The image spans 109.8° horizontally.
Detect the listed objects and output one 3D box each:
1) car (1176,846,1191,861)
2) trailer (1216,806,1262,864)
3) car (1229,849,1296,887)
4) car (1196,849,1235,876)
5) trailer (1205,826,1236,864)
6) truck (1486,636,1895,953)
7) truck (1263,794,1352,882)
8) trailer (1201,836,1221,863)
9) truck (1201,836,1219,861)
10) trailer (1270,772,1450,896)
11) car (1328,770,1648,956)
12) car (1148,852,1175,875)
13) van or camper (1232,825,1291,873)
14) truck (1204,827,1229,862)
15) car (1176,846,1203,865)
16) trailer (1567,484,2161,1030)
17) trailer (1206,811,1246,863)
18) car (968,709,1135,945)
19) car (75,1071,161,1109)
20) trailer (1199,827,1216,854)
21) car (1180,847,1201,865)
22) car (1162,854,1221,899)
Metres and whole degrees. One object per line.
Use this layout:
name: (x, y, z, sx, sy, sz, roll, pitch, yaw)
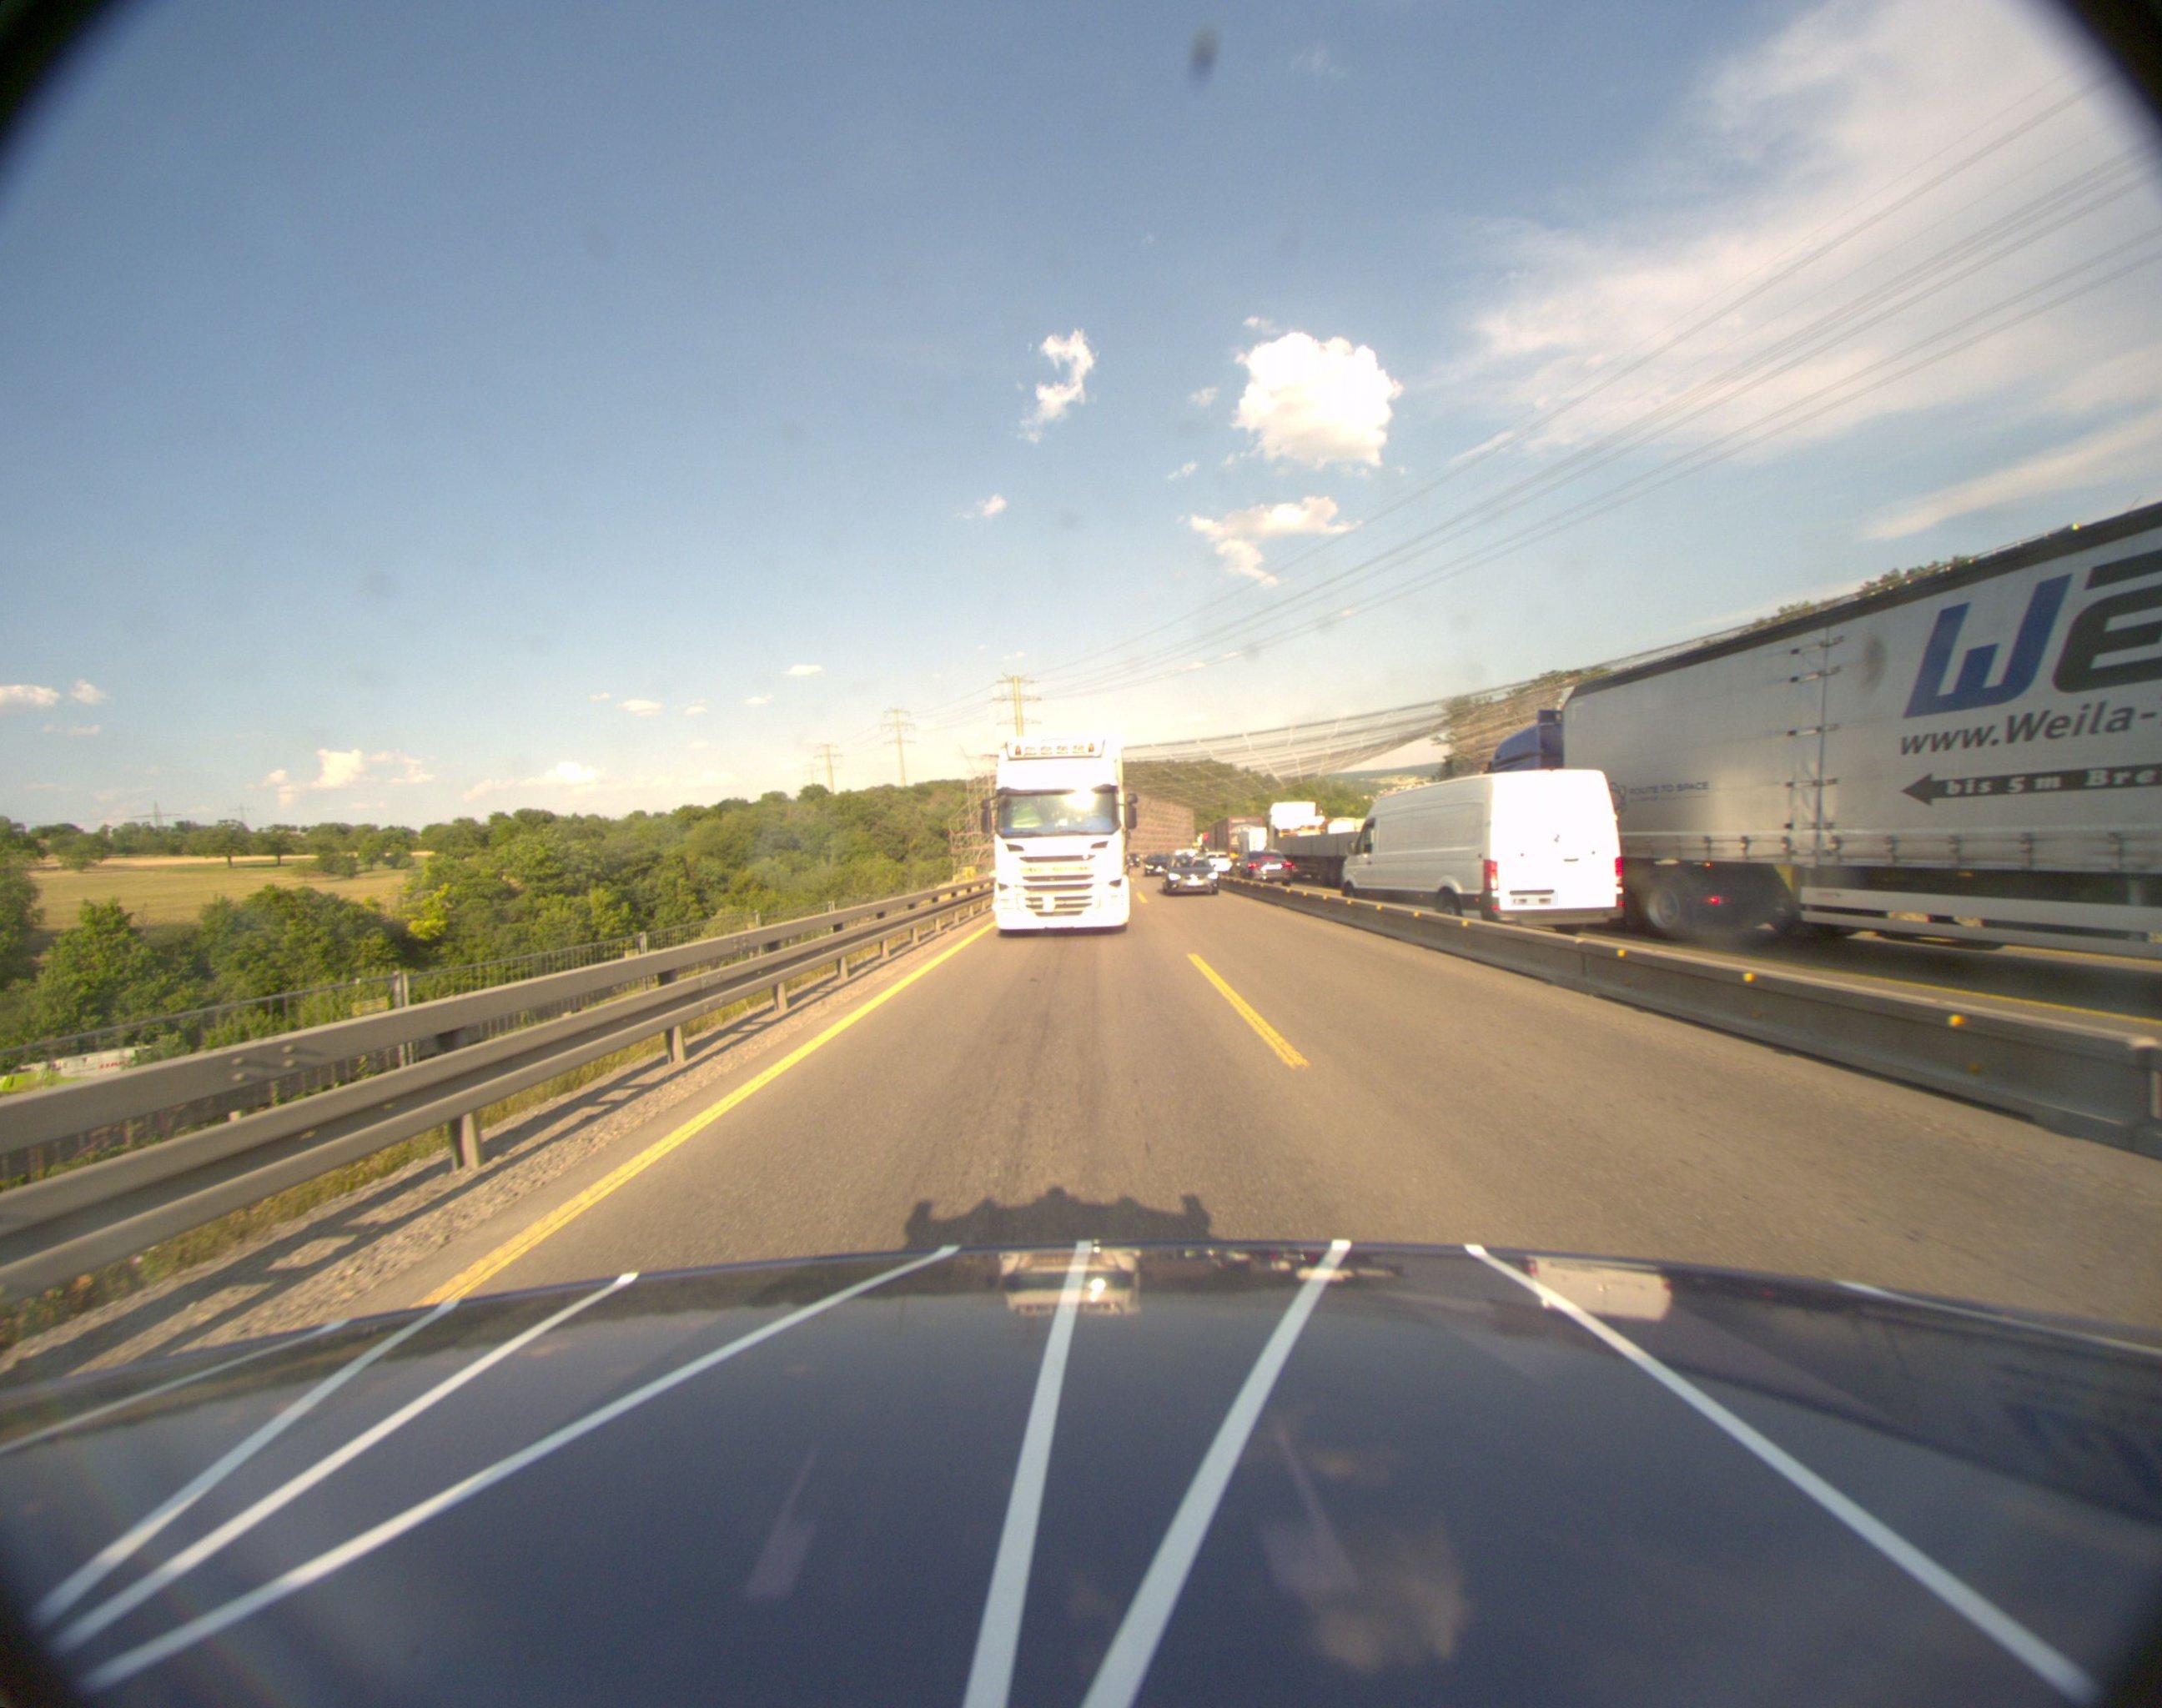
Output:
car: (13.661, -0.053, 101.397, 1.821, 1.914, 4.837, -1, 1, 5)
trailer: (12.254, -1.418, 59.635, 2.448, 4.164, 8.546, -1, 1, 5)
car: (7.264, 0.520, 30.799, 1.763, 1.370, 4.768, -1, 1, 3)
car: (8.127, 0.475, 46.165, 1.763, 1.499, 4.254, -1, 1, 2)
trailer: (14.792, -0.942, 81.130, 2.311, 3.768, 12.057, -1, 1, 6)
truck: (9.391, -0.775, 12.663, 2.509, 4.042, 5.666, -1, 1, 4)
truck: (10.648, -0.725, 36.344, 2.607, 3.732, 6.518, -1, 1, 4)
trailer: (17.156, -0.665, 100.957, 2.311, 3.342, 12.059, -1, 1, 9)
truck: (18.067, -0.749, 106.633, 2.418, 3.350, 5.620, -1, 1, 9)
trailer: (10.188, -0.666, 30.025, 2.525, 3.703, 13.979, -1, 1, 2)
car: (6.658, 0.101, 13.741, 2.062, 2.486, 6.774, -1, 1, -1)
car: (5.260, 0.604, 49.590, 1.675, 1.376, 3.824, -1, 1, 7)
van or camper: (11.625, -0.342, 49.564, 2.413, 2.875, 7.619, -1, 1, 4)
truck: (15.472, -1.080, 87.065, 2.437, 3.763, 5.619, -1, 1, 6)
car: (9.018, 0.100, 63.512, 1.797, 1.502, 4.586, -1, 1, 3)
trailer: (9.295, -0.742, 5.531, 2.312, 4.106, 14.599, -1, 1, 1)
trailer: (13.083, -1.464, 69.147, 2.481, 4.303, 10.514, -1, 1, 5)
car: (-0.463, -0.509, 17.528, 2.858, 4.092, 8.280, -1, 1, 1)
car: (-80.467, 19.687, 63.547, 1.678, 1.824, 4.112, -1, 1, 25)
trailer: (19.827, -2.121, 119.967, 2.432, 3.940, 14.107, -1, 1, 9)
car: (10.893, 0.211, 75.831, 1.760, 1.685, 4.454, -1, 1, 5)
car: (3.784, 0.737, 26.620, 1.764, 1.376, 3.823, -1, 1, 4)
